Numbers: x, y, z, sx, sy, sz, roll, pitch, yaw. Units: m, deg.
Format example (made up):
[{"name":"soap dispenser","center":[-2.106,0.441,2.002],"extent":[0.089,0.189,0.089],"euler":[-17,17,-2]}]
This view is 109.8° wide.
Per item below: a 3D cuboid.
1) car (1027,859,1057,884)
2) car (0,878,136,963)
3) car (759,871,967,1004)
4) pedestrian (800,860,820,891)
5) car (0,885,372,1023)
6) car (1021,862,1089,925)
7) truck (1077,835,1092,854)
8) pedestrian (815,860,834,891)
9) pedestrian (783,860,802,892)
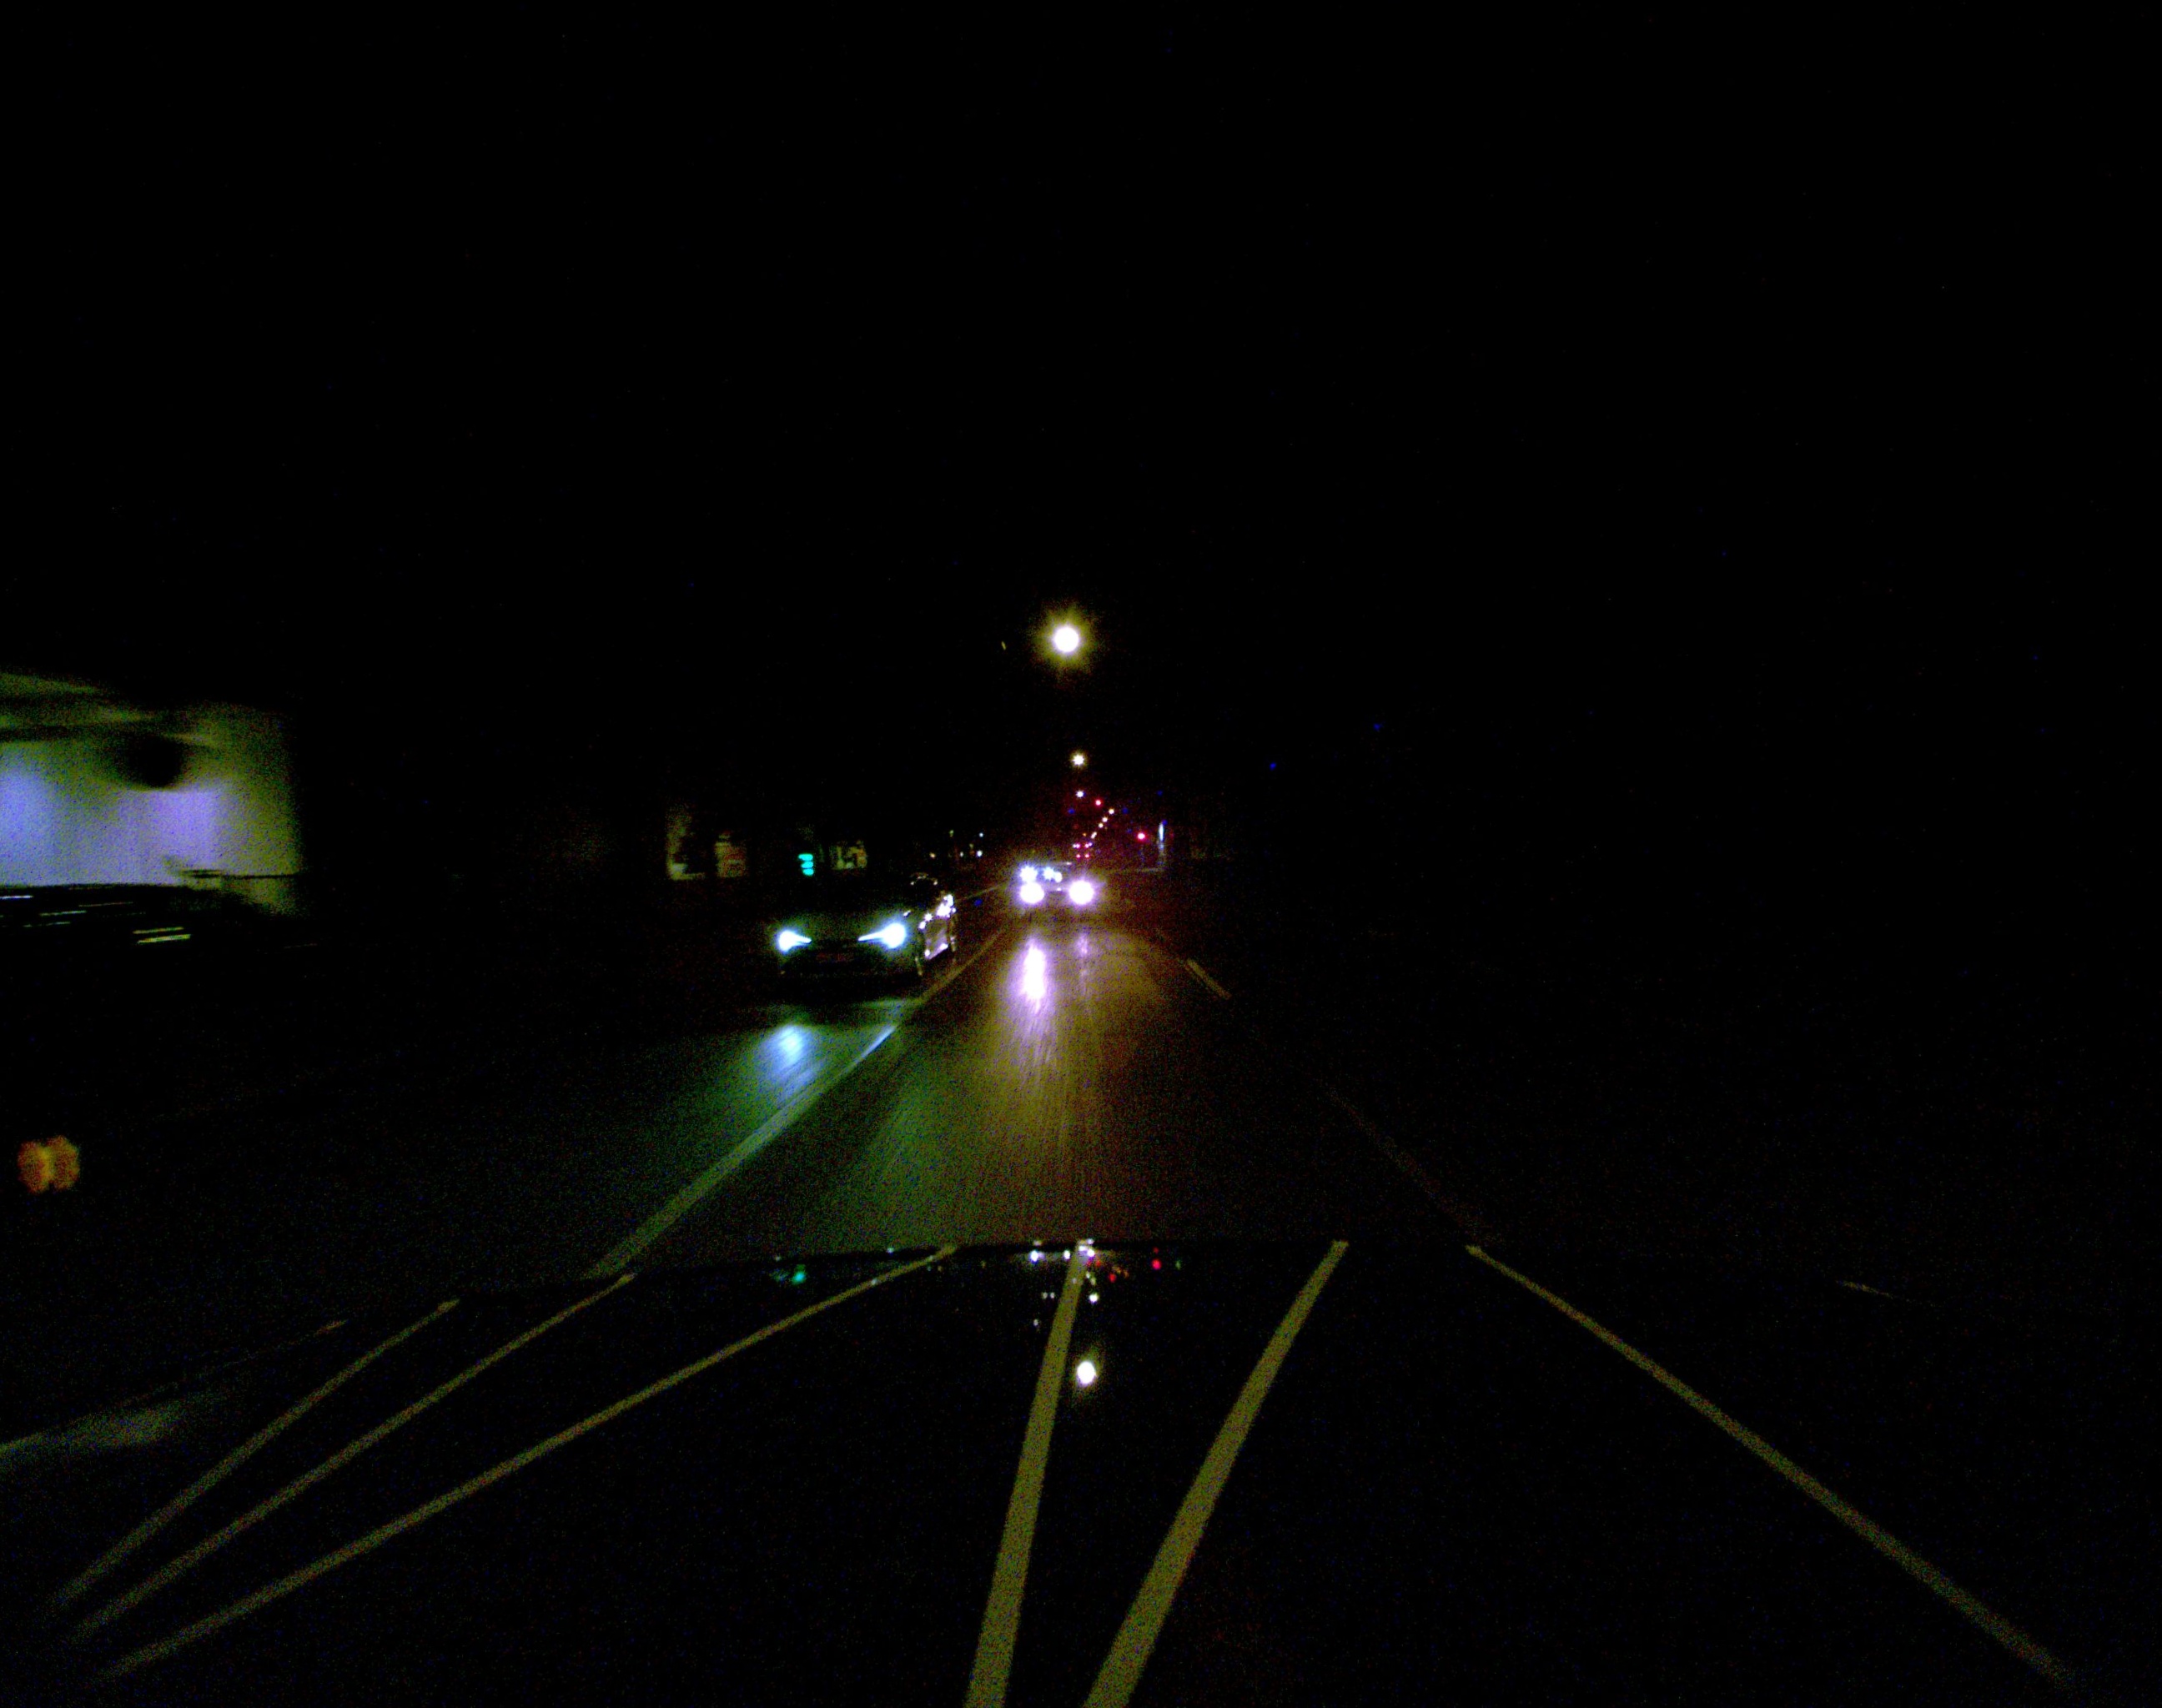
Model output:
[{"name":"car","center":[-2.523,1.126,50.492],"extent":[1.729,1.455,3.999],"euler":[-4,0,0]},{"name":"car","center":[-22.476,1.370,15.515],"extent":[3.961,1.557,1.714],"euler":[-2,1,-3]},{"name":"car","center":[-3.002,1.078,11.533],"extent":[1.729,1.421,4.498],"euler":[-3,0,1]},{"name":"pedestrian","center":[-15.823,1.228,44.363],"extent":[0.721,1.778,0.970],"euler":[-1,1,1]},{"name":"car","center":[-11.938,1.208,9.658],"extent":[4.092,1.446,1.786],"euler":[-2,1,0]},{"name":"car","center":[-0.655,0.989,20.768],"extent":[1.634,1.430,3.839],"euler":[-2,0,0]},{"name":"truck","center":[0.887,-2.445,200.526],"extent":[3.517,4.557,9.039],"euler":[-4,1,0]},{"name":"pedestrian","center":[-14.912,1.236,44.178],"extent":[0.737,1.707,0.985],"euler":[-1,1,1]},{"name":"pedestrian","center":[-16.777,1.286,44.155],"extent":[0.676,1.806,0.906],"euler":[-1,1,1]}]
